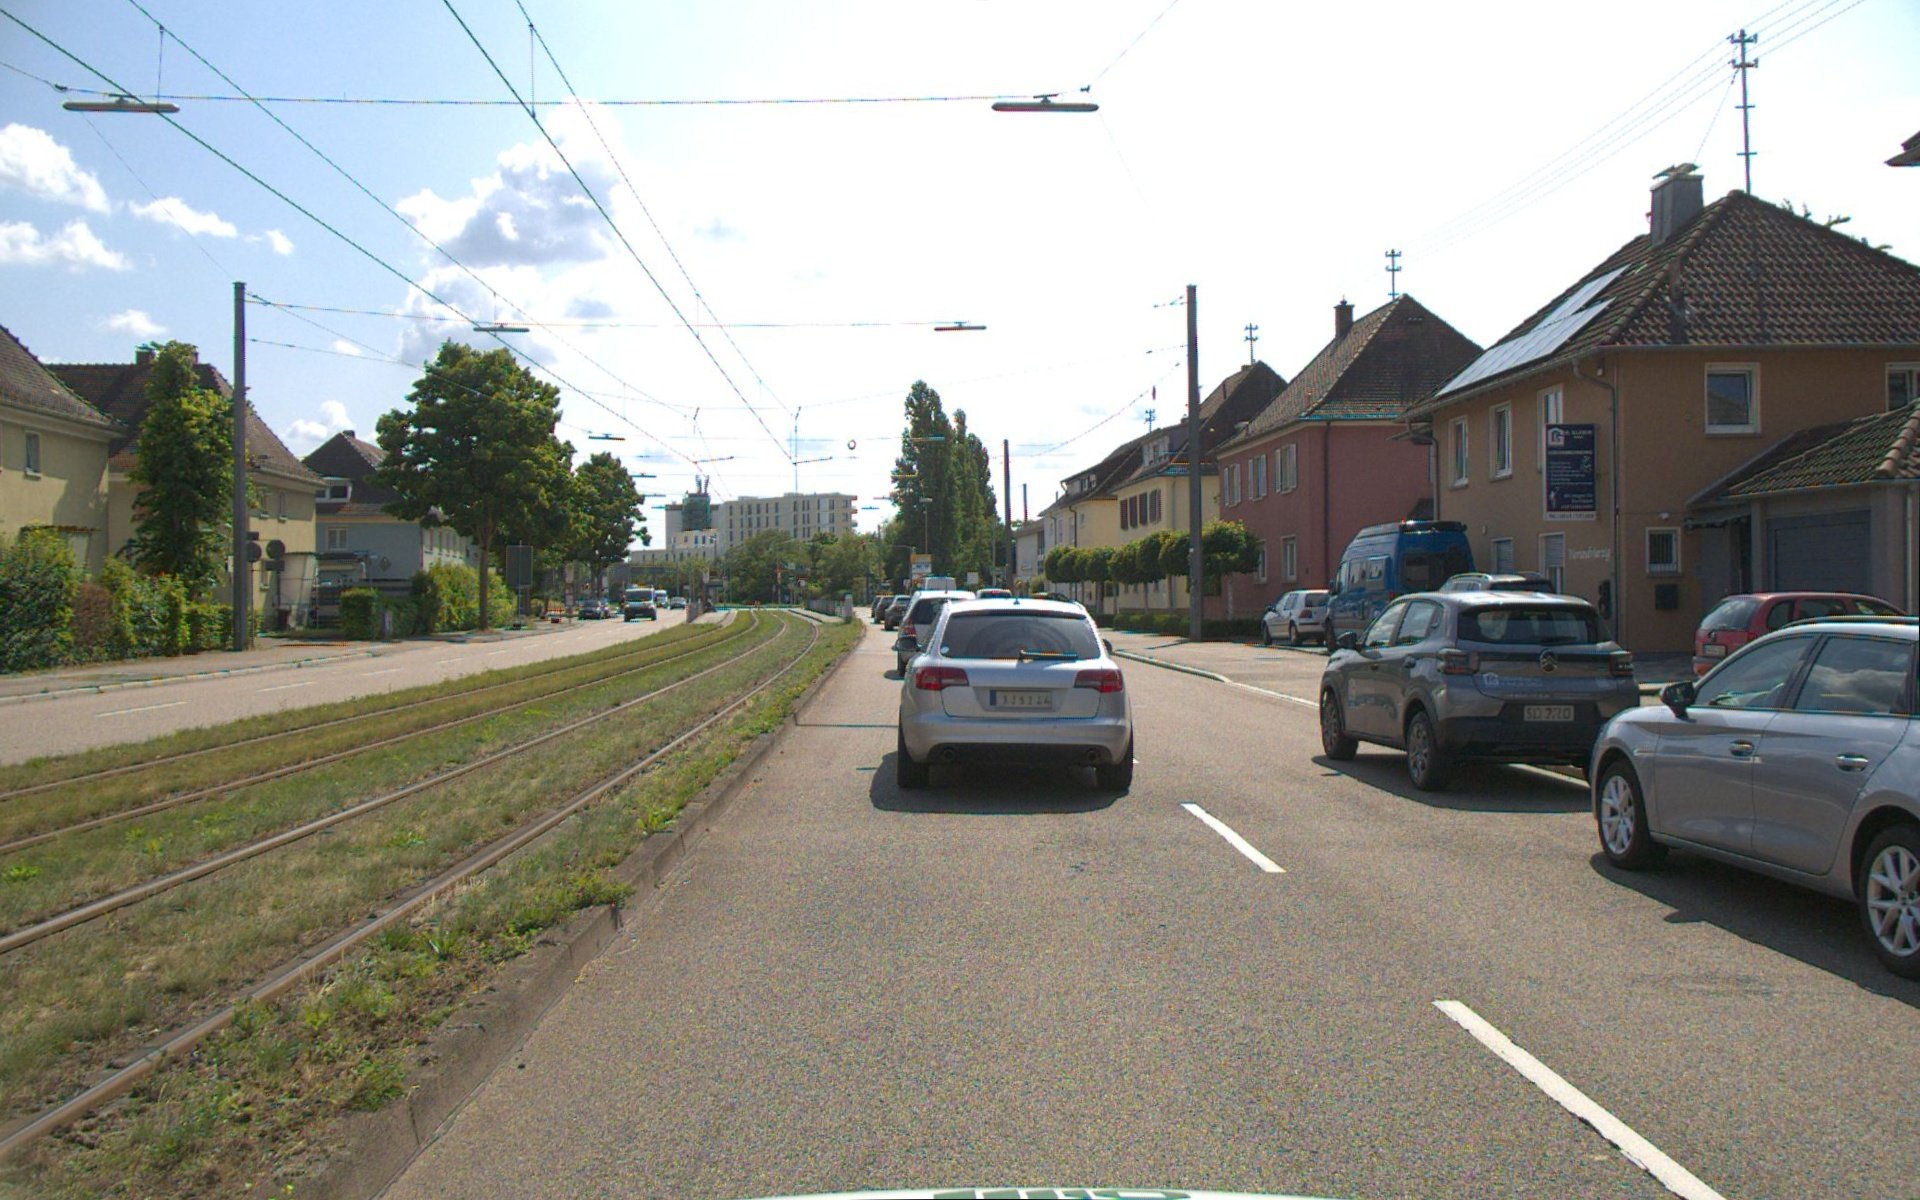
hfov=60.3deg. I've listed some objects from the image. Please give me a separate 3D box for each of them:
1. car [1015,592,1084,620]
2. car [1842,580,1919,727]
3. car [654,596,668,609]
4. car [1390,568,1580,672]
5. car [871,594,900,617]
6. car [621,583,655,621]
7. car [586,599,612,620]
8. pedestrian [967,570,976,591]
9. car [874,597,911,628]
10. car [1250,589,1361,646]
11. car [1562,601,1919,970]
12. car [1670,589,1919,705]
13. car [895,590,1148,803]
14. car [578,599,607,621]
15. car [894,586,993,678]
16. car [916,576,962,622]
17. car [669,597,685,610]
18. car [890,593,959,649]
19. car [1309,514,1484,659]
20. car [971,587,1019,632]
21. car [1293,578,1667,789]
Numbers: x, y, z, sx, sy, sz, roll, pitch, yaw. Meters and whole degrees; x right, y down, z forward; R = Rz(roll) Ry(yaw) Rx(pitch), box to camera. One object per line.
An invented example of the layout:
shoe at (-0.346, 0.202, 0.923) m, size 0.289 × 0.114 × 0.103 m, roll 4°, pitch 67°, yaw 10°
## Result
car at (5.266, 0.335, 97.006) m, size 1.882 × 1.483 × 4.068 m, roll 0°, pitch 2°, yaw 42°
car at (10.426, 0.513, 15.328) m, size 1.762 × 1.448 × 4.855 m, roll -1°, pitch 0°, yaw -2°
car at (-40.058, 0.379, 221.457) m, size 1.829 × 1.680 × 3.989 m, roll 1°, pitch -1°, yaw -11°
car at (9.812, 0.329, 31.347) m, size 1.800 × 1.741 × 4.861 m, roll -2°, pitch 0°, yaw -3°
car at (-5.135, 0.390, 114.273) m, size 1.846 × 1.557 × 4.093 m, roll 1°, pitch -1°, yaw 0°
car at (-21.790, 0.146, 111.969) m, size 2.157 × 2.413 × 5.318 m, roll -2°, pitch 0°, yaw -11°
car at (-29.272, 0.742, 134.025) m, size 2.024 × 1.642 × 4.738 m, roll -1°, pitch 0°, yaw -13°
pedestrian at (1.028, -1.764, 150.021) m, size 0.707 × 1.814 × 0.702 m, roll -3°, pitch 0°, yaw -5°
car at (-3.490, 0.660, 86.141) m, size 1.847 × 1.557 × 4.093 m, roll 1°, pitch -1°, yaw -1°
car at (9.221, 0.465, 44.473) m, size 1.617 × 1.434 × 4.344 m, roll -1°, pitch 0°, yaw -6°
car at (4.705, 0.769, 7.944) m, size 1.778 × 1.479 × 4.641 m, roll 1°, pitch -1°, yaw -2°
car at (11.228, 0.581, 21.147) m, size 3.577 × 1.404 × 1.725 m, roll 0°, pitch -1°, yaw -4°
car at (0.442, 0.693, 14.160) m, size 1.816 × 1.518 × 4.535 m, roll 0°, pitch 0°, yaw 0°
car at (-28.389, 0.757, 127.863) m, size 1.752 × 1.612 × 3.926 m, roll 0°, pitch 0°, yaw -6°
car at (-0.352, 0.579, 31.891) m, size 1.751 × 1.604 × 4.093 m, roll 2°, pitch 0°, yaw -2°
car at (-1.251, -0.072, 95.996) m, size 2.002 × 2.602 × 5.222 m, roll 0°, pitch 0°, yaw -8°
car at (-35.095, 0.461, 205.390) m, size 1.863 × 1.568 × 3.719 m, roll 1°, pitch -1°, yaw -11°
car at (-0.990, 0.559, 47.078) m, size 1.846 × 1.491 × 4.094 m, roll -1°, pitch 0°, yaw -1°
car at (9.764, -0.261, 37.600) m, size 2.108 × 2.981 × 6.242 m, roll 1°, pitch -1°, yaw -2°
car at (1.452, 0.385, 67.506) m, size 1.846 × 1.761 × 4.095 m, roll -1°, pitch 0°, yaw 2°
car at (4.405, 0.658, 14.746) m, size 1.771 × 1.587 × 4.250 m, roll 1°, pitch -1°, yaw -3°
